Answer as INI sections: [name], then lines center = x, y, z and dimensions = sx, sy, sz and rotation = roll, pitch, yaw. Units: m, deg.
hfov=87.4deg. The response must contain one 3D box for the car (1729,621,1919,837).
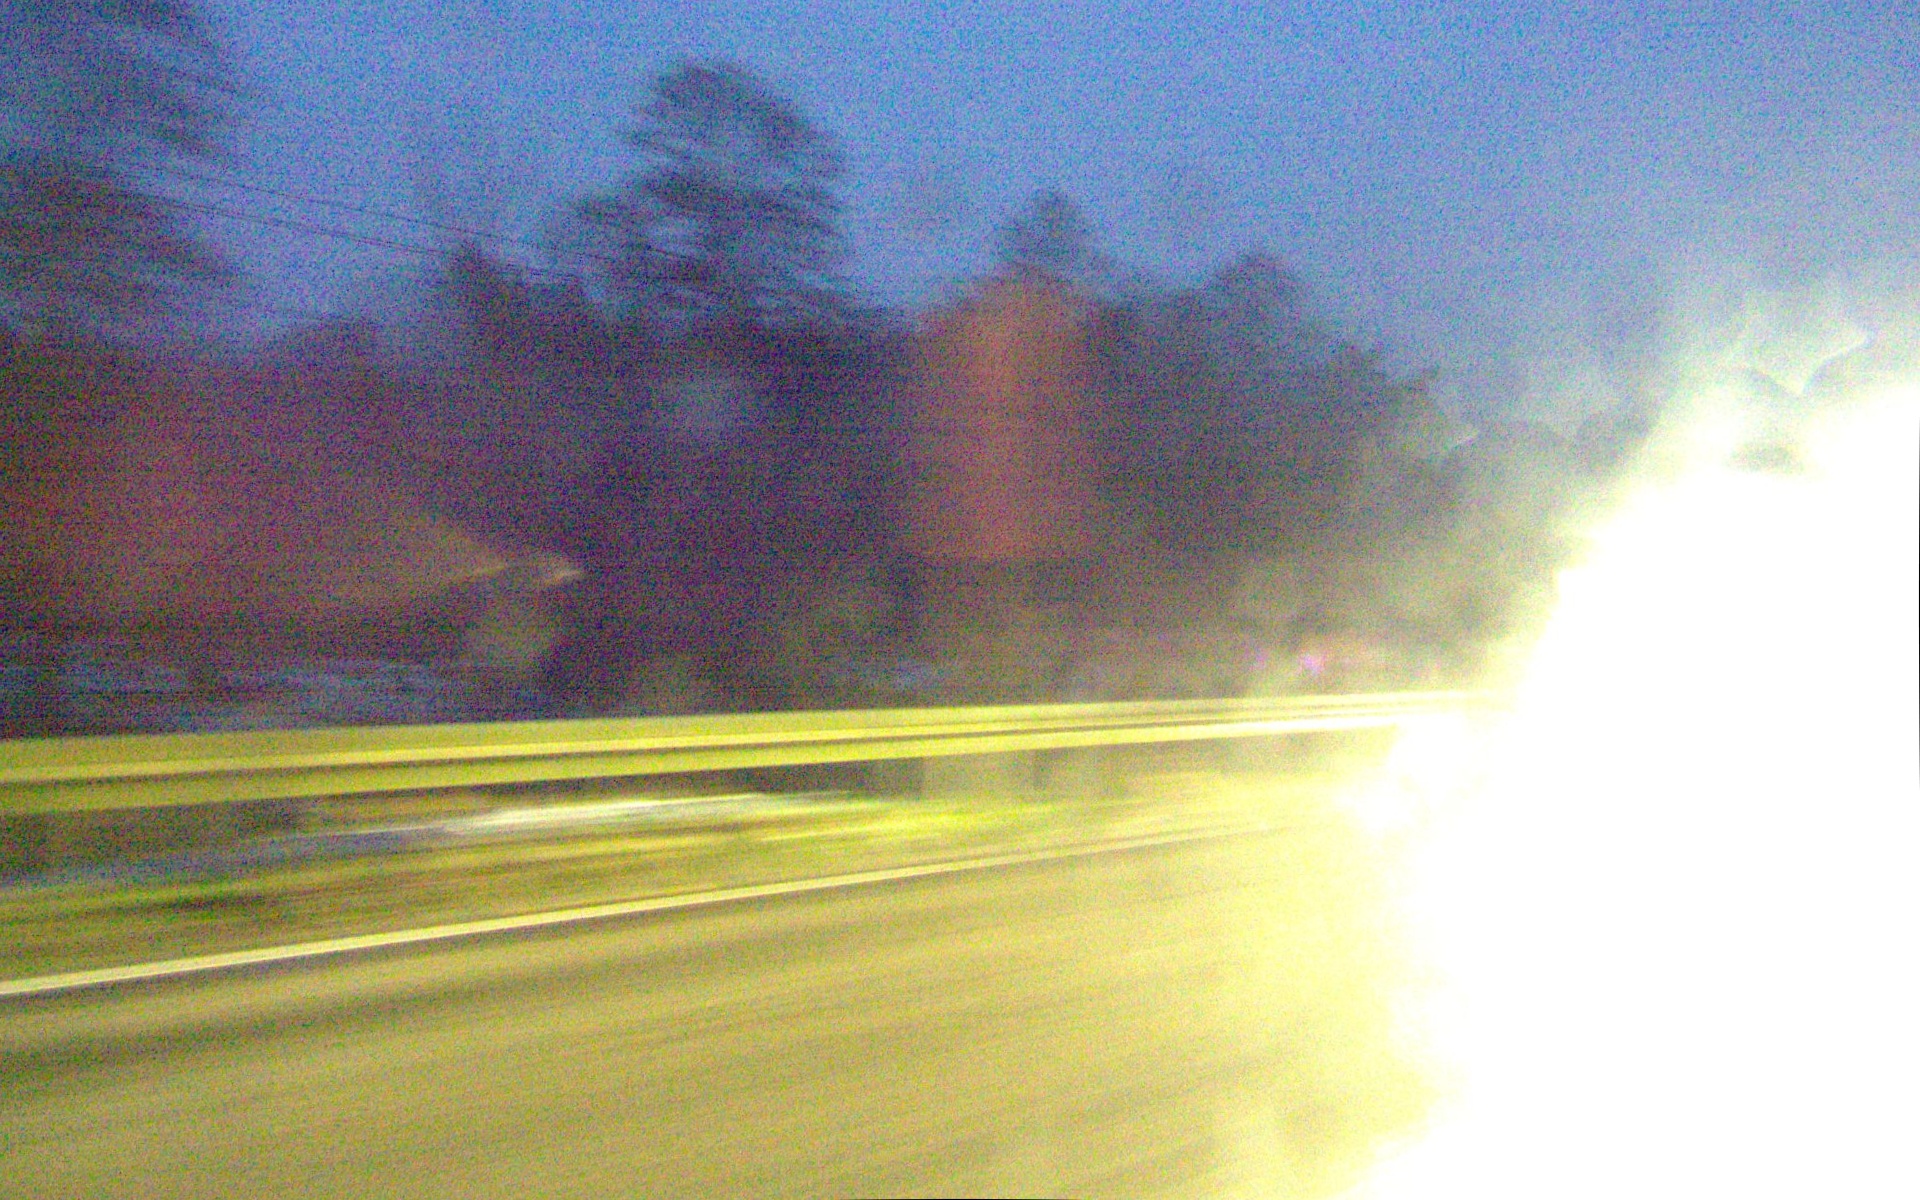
[car]
center = 8.729, 0.974, 8.520
dimensions = 4.304, 1.517, 1.984
rotation = 1, 1, -30
